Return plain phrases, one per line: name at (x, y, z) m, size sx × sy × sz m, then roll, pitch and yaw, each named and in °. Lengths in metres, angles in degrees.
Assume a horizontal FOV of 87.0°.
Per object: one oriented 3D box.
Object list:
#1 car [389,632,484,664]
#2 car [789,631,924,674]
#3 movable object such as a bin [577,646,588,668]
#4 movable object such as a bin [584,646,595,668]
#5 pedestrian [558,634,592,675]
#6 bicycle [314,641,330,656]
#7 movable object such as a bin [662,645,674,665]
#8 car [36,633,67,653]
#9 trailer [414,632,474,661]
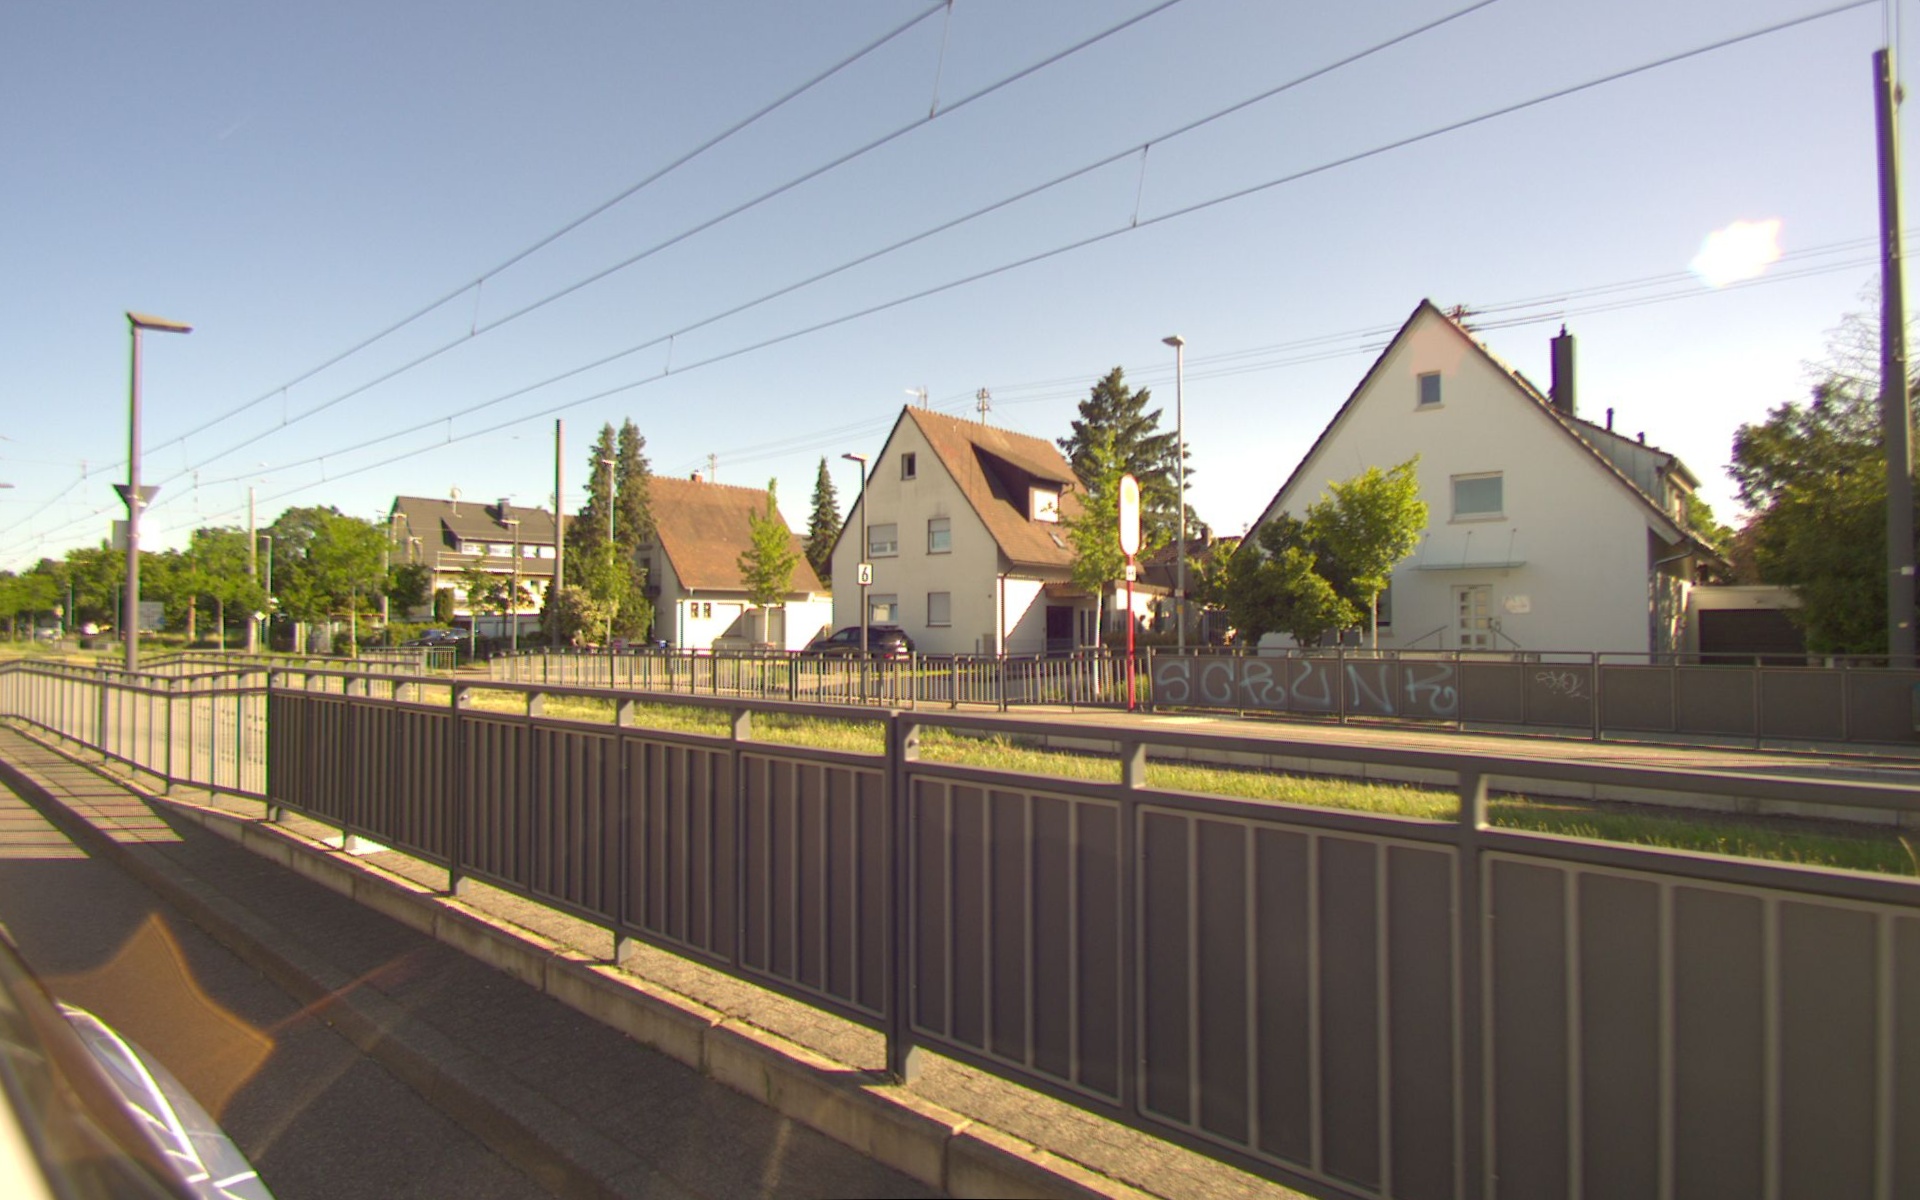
car at (-30.110, 2.730, 58.365) m, size 2.044 × 1.748 × 4.509 m, roll -1°, pitch -2°, yaw 30°
car at (-3.812, 1.861, 36.732) m, size 5.160 × 1.461 × 1.914 m, roll -2°, pitch -2°, yaw 41°
movable object such as a bin at (-16.855, 2.555, 45.225) m, size 0.350 × 0.977 × 0.323 m, roll -1°, pitch 0°, yaw 37°
movable object such as a bin at (-16.656, 2.559, 45.480) m, size 0.333 × 0.973 × 0.295 m, roll -1°, pitch -1°, yaw 37°
pedestrian at (-16.102, 2.268, 42.320) m, size 1.085 × 1.653 × 0.955 m, roll -2°, pitch -2°, yaw 41°
bicycle at (-43.346, 3.271, 68.749) m, size 1.748 × 0.949 × 0.419 m, roll -1°, pitch 0°, yaw 42°
movable object such as a bin at (-13.907, 2.618, 48.240) m, size 0.451 × 0.904 × 0.367 m, roll -1°, pitch 0°, yaw 37°
car at (-88.654, 4.161, 98.732) m, size 4.702 × 1.929 × 1.876 m, roll -2°, pitch -3°, yaw 43°
trailer at (-31.002, 2.771, 60.804) m, size 1.397 × 1.660 × 2.885 m, roll -2°, pitch -2°, yaw 38°
